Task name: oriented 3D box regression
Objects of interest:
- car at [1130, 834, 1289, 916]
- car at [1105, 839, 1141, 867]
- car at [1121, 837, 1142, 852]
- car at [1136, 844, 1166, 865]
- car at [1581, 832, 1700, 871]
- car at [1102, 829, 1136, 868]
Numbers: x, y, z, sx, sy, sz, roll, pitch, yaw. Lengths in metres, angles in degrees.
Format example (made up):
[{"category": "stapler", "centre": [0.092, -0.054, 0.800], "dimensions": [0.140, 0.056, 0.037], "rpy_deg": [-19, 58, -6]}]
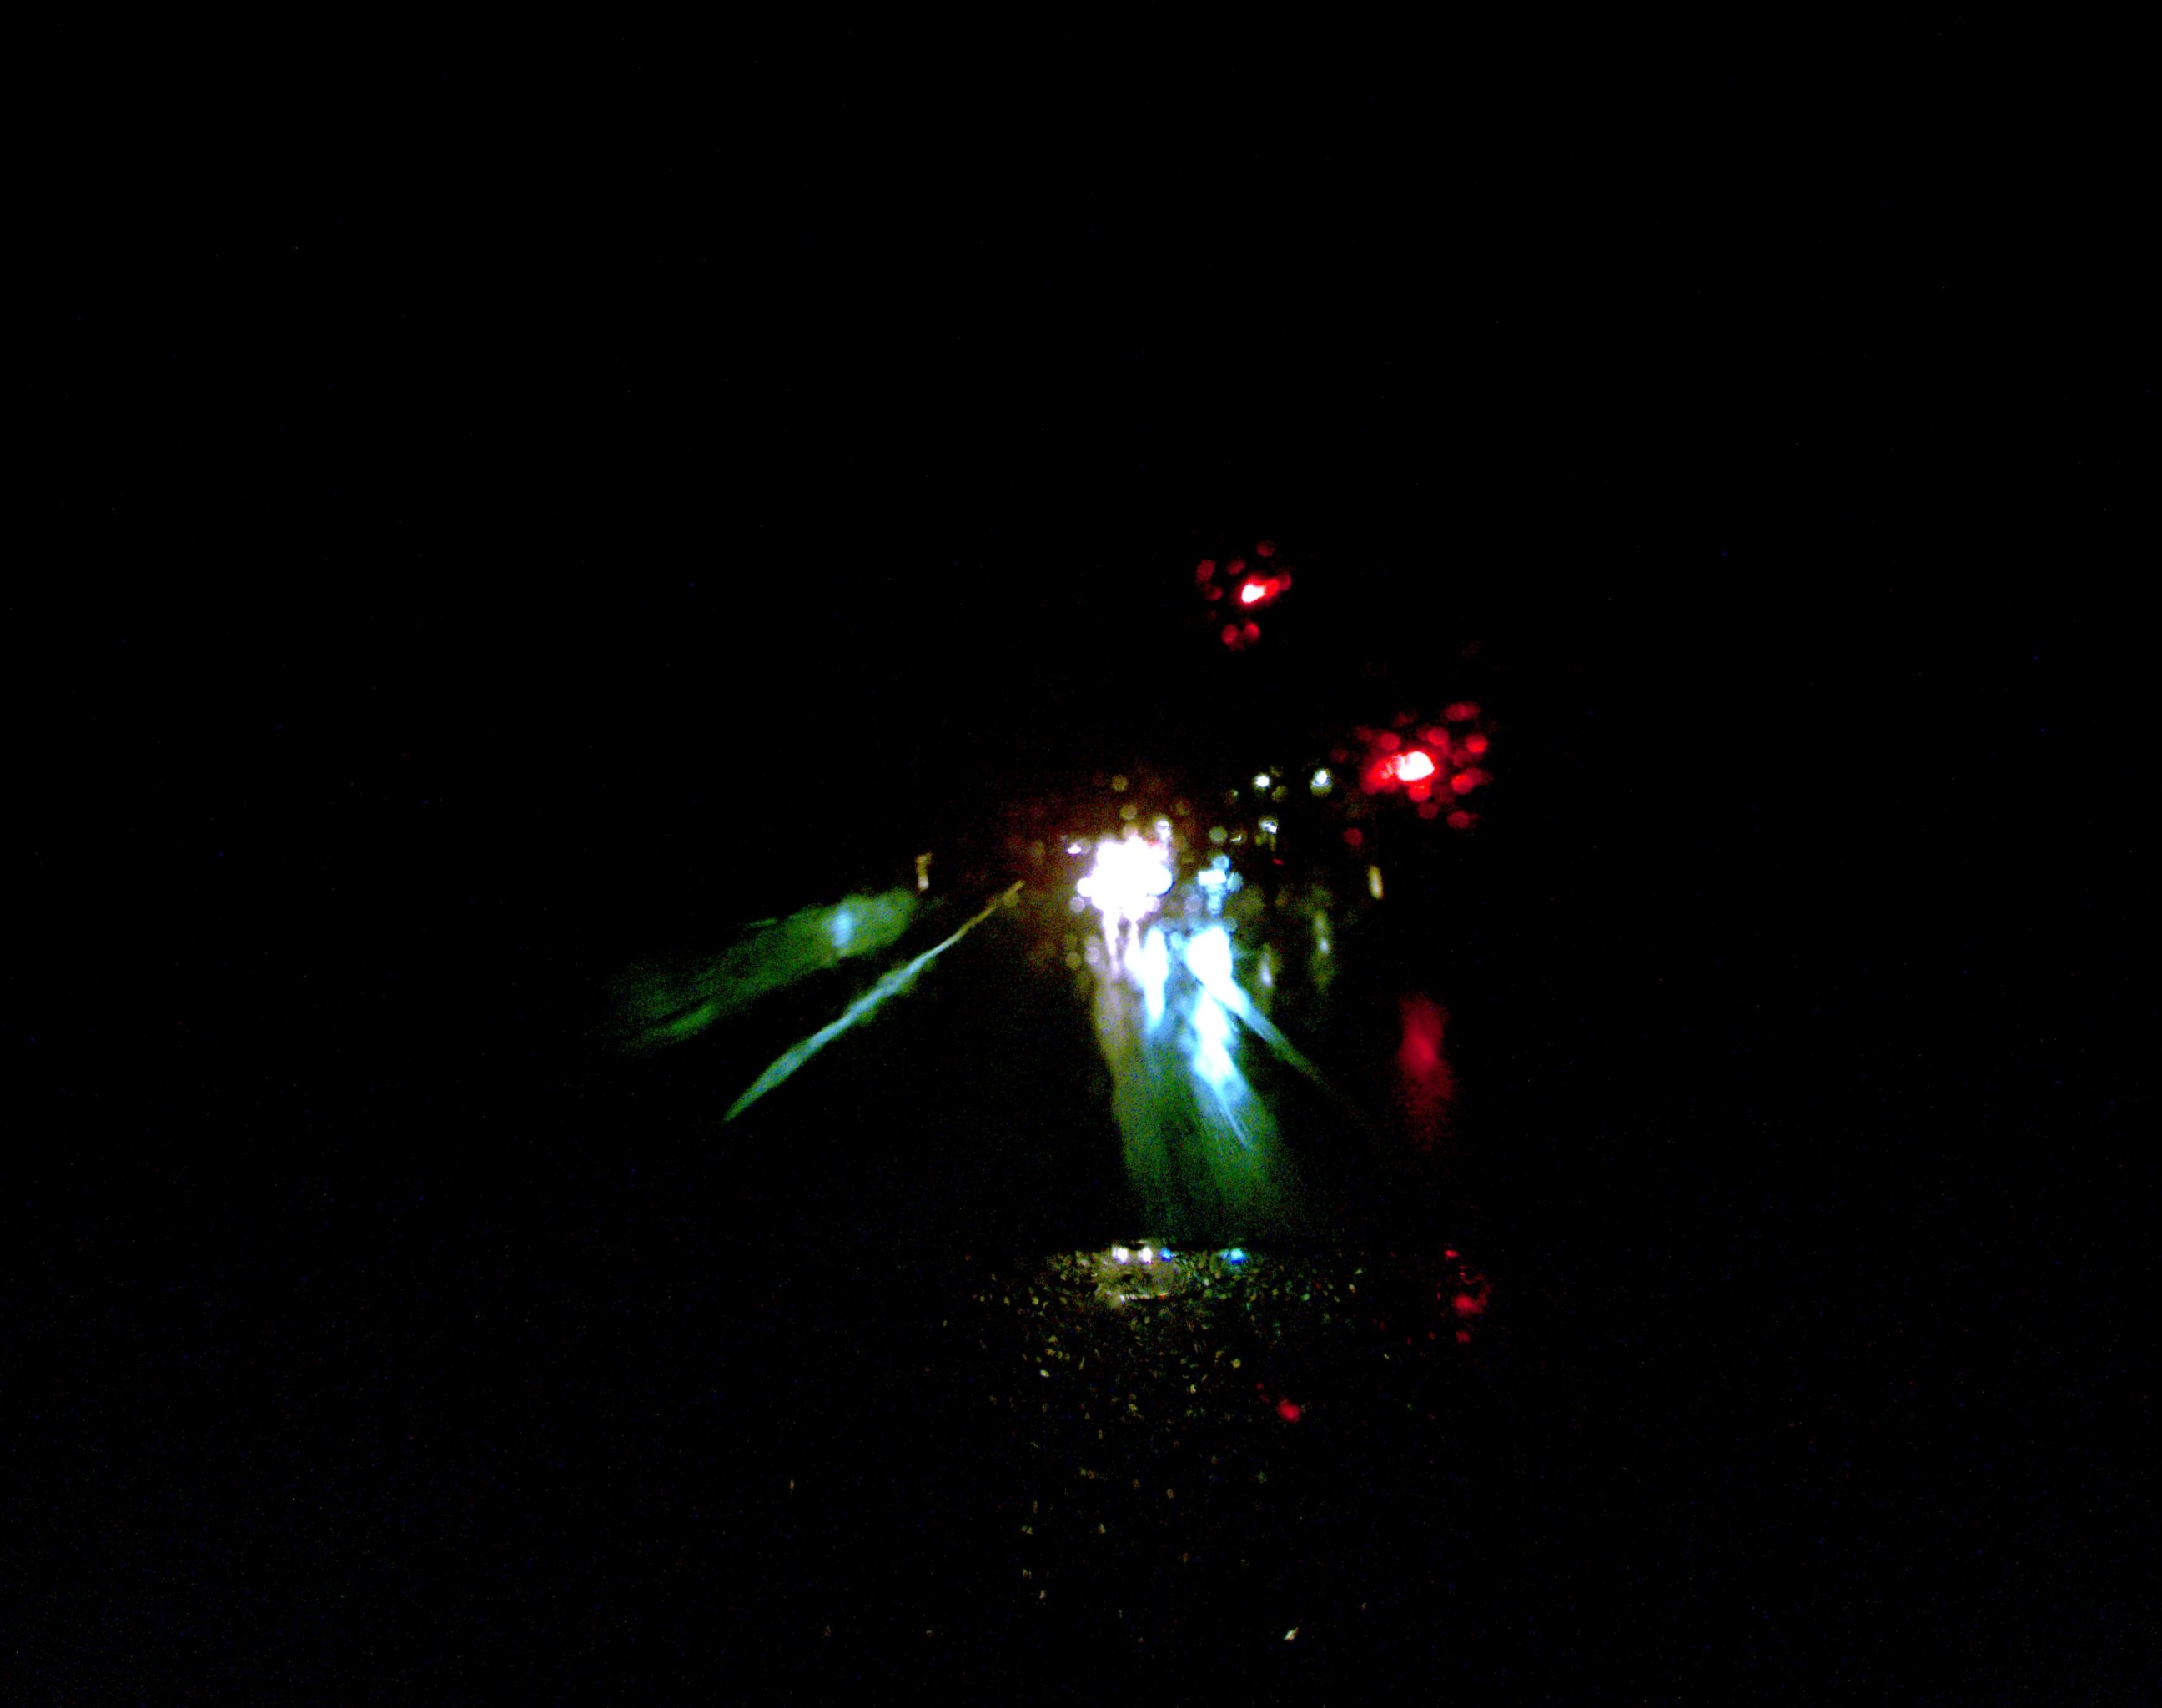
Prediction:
[{"category": "car", "centre": [3.151, 0.446, 17.899], "dimensions": [1.890, 1.678, 4.348], "rpy_deg": [-2, -1, 36]}, {"category": "car", "centre": [2.503, -0.025, 46.453], "dimensions": [1.979, 1.507, 4.207], "rpy_deg": [-2, -2, 1]}, {"category": "car", "centre": [5.235, -0.972, 79.019], "dimensions": [1.914, 1.502, 4.239], "rpy_deg": [-1, 2, 0]}, {"category": "car", "centre": [5.801, 0.036, 63.338], "dimensions": [2.062, 1.668, 4.139], "rpy_deg": [-2, 1, 1]}, {"category": "car", "centre": [24.297, -0.162, 33.252], "dimensions": [1.937, 1.577, 4.481], "rpy_deg": [0, 2, 1]}, {"category": "car", "centre": [2.567, -0.341, 52.476], "dimensions": [2.173, 2.427, 4.862], "rpy_deg": [-2, -2, 1]}]
